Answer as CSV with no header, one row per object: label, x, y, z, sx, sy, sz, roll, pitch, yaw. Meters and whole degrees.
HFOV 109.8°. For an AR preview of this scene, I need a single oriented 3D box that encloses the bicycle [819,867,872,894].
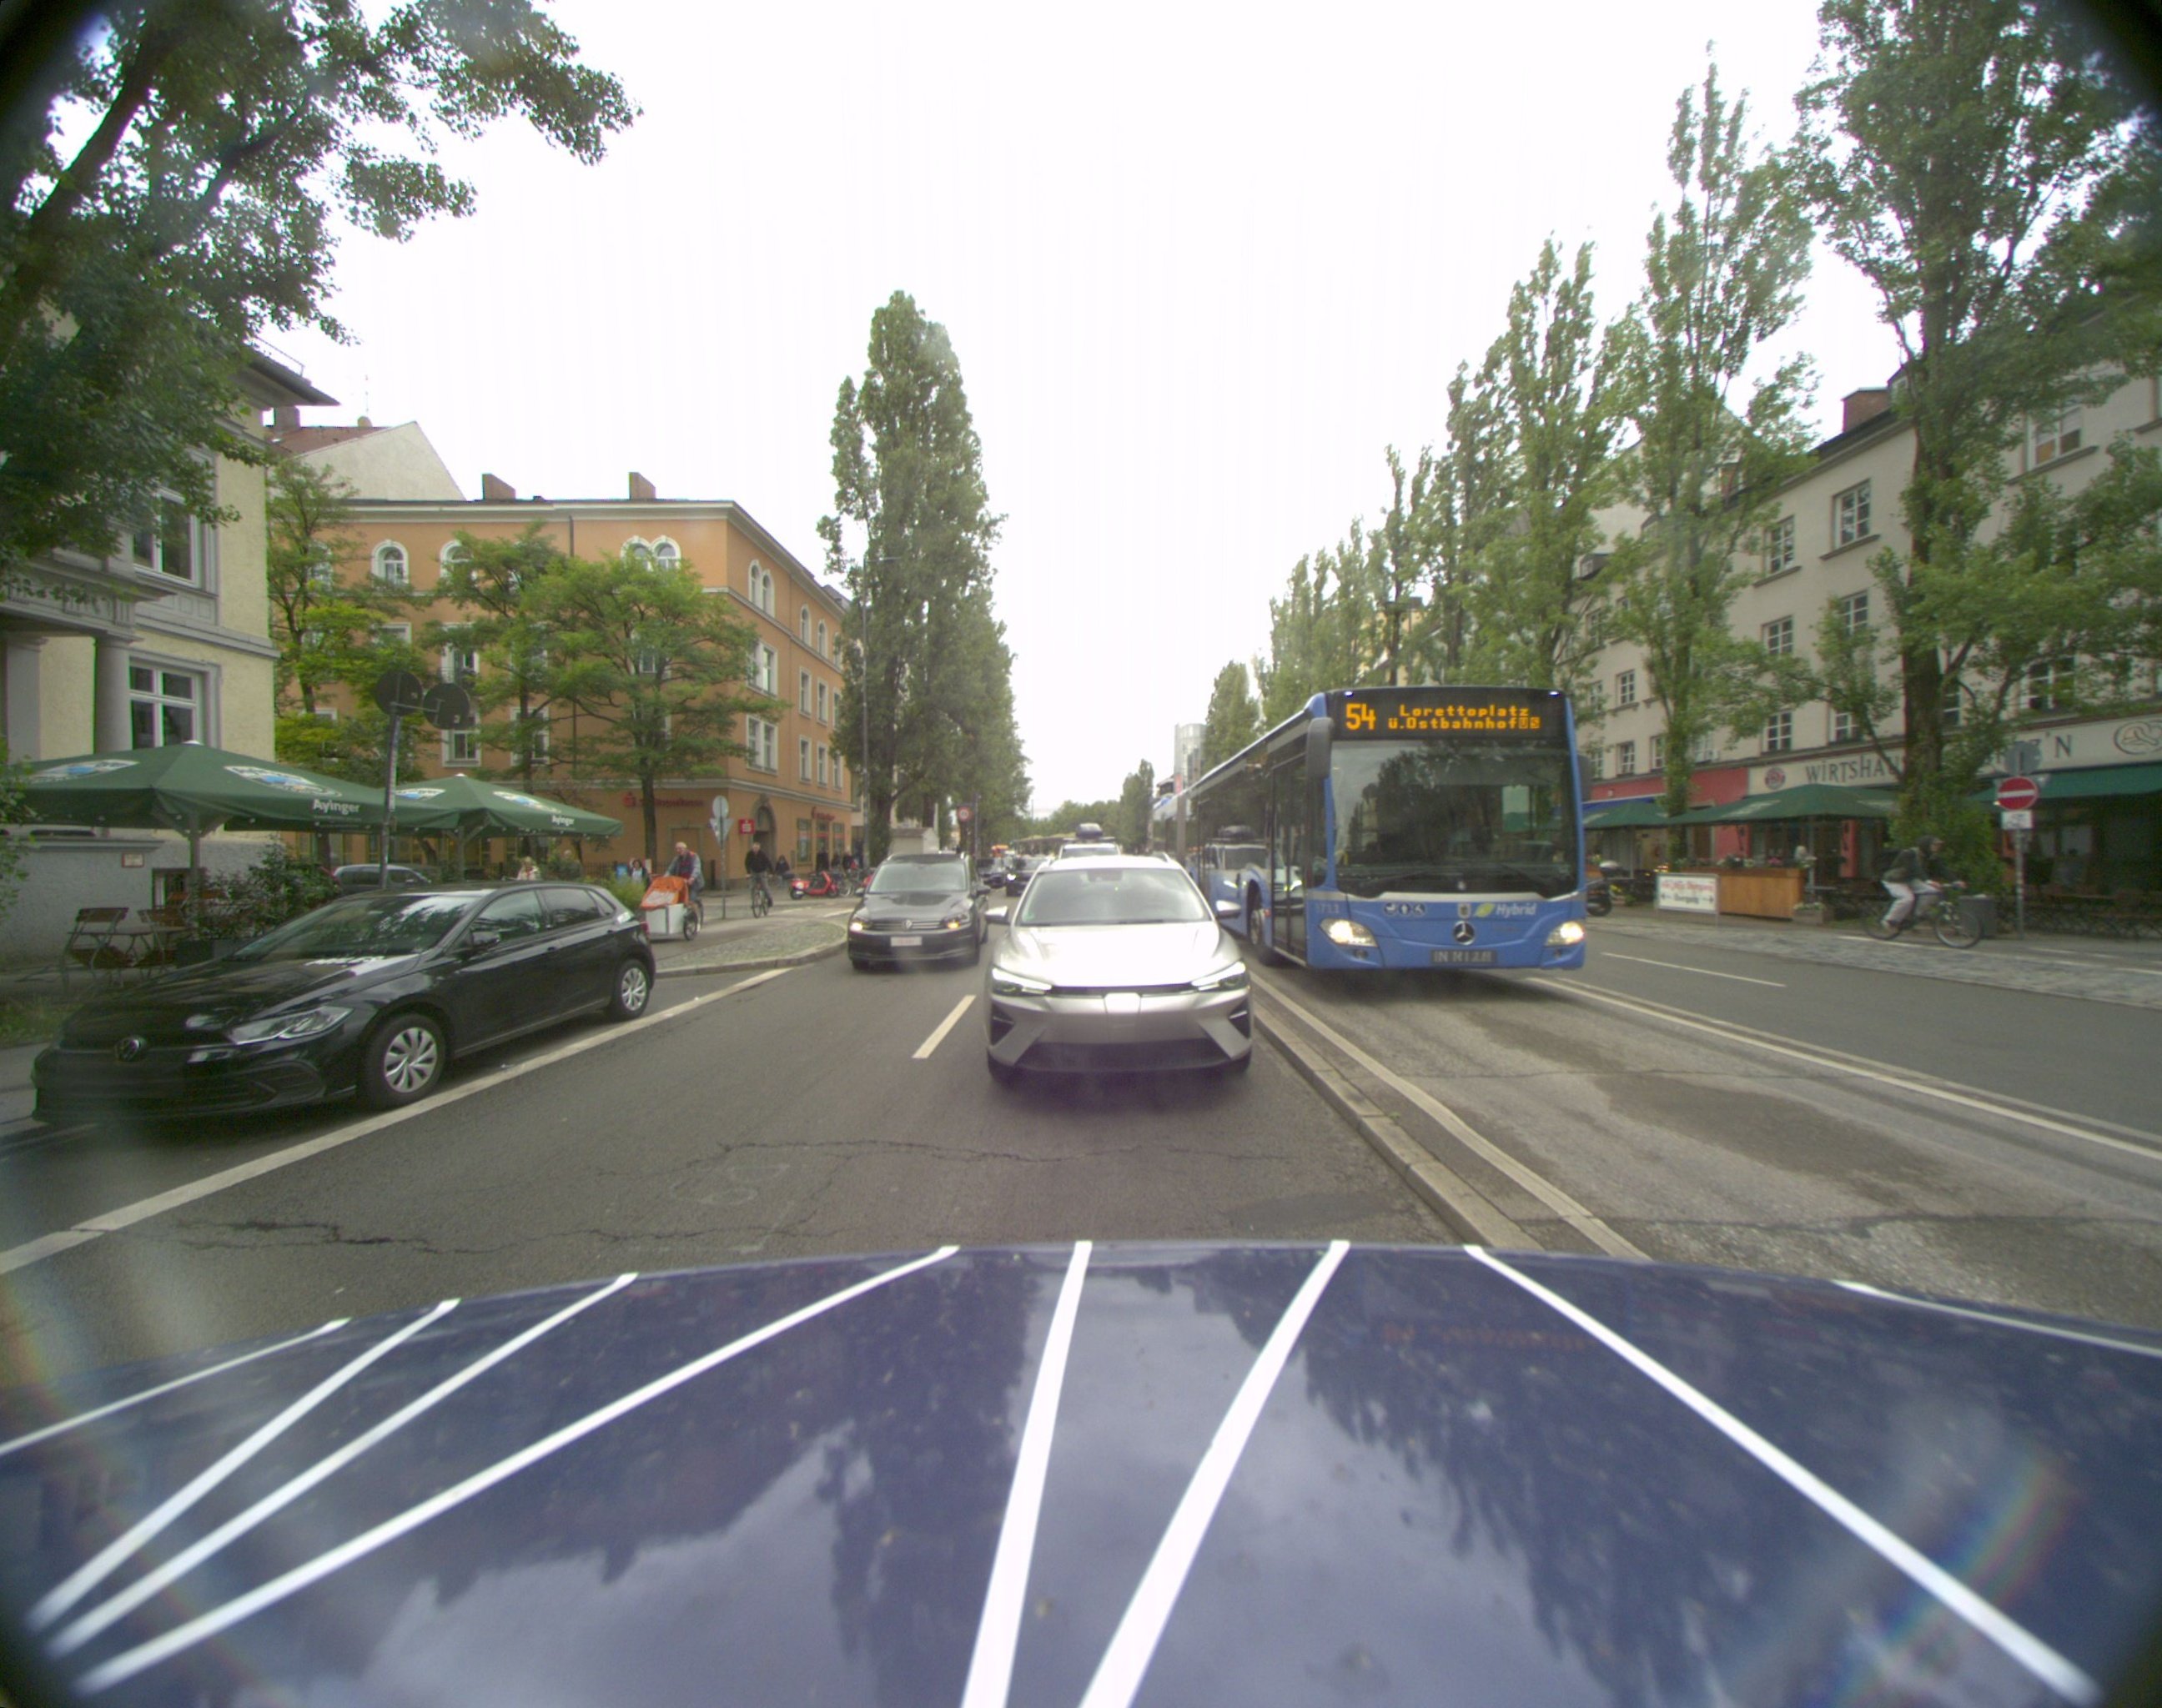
bicycle,-9.475,1.070,30.648,1.945,1.069,0.561,-1,1,1

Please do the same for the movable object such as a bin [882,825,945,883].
movable object such as a bin,-9.377,-0.001,43.044,2.445,3.119,4.543,1,0,1

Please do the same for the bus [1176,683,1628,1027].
bus,3.389,-0.002,11.555,2.696,2.932,10.052,0,0,0

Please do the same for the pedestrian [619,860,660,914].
pedestrian,-13.273,0.992,22.840,0.745,1.562,0.664,-2,1,3

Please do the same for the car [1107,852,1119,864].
car,5.418,0.717,129.353,1.998,2.002,4.000,0,0,1

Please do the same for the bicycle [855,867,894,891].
bicycle,-9.073,1.091,33.463,1.602,1.004,0.342,-1,1,-6

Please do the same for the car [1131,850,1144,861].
car,8.601,0.211,115.129,1.718,1.532,4.076,1,0,1

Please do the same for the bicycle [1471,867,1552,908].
bicycle,12.263,0.962,21.695,1.976,1.119,0.343,-1,1,37

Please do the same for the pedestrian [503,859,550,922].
pedestrian,-14.210,0.933,19.469,0.699,1.562,0.575,-2,1,3

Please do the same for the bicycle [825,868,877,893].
bicycle,-9.461,1.081,31.252,1.945,1.004,0.561,-1,1,1

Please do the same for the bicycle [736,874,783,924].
bicycle,-8.035,1.085,19.072,0.738,1.113,2.099,-1,0,-13

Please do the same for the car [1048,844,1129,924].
car,0.182,0.673,20.479,1.839,1.831,5.129,-2,1,0

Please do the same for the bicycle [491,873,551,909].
bicycle,-22.046,1.447,29.917,1.945,1.364,0.561,-2,1,1

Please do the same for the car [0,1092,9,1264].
car,-5.539,0.983,1.036,1.808,1.628,4.446,-2,0,-1

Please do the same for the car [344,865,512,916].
car,-22.262,1.216,26.021,3.997,1.511,1.906,-2,1,-1

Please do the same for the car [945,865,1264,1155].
car,0.138,0.911,6.304,1.742,1.510,4.033,-2,0,0

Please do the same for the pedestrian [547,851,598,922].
pedestrian,-12.894,0.807,19.290,0.699,1.756,0.732,-2,1,4

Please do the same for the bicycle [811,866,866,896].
bicycle,-9.321,1.041,29.253,1.945,1.130,0.561,-1,1,1

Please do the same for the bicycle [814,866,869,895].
bicycle,-9.415,1.045,29.904,1.945,1.082,0.561,-1,1,1

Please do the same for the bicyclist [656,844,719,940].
bicyclist,-7.419,0.701,14.371,0.831,1.747,0.667,-1,1,-4

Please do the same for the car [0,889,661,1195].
car,-5.245,1.087,5.990,1.698,1.408,3.950,-1,0,-1

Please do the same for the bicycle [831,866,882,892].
bicycle,-9.452,1.048,32.001,1.945,1.078,0.561,-1,1,1

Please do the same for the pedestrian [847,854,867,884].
pedestrian,-11.943,0.773,40.527,0.745,1.562,0.614,-2,1,3

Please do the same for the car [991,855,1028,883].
car,-4.369,0.880,46.934,1.789,1.604,4.498,-2,0,0

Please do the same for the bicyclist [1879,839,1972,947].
bicyclist,13.799,0.617,12.441,0.606,1.695,0.816,-1,1,2

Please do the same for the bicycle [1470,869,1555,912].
bicycle,11.780,0.979,20.781,1.976,1.119,0.283,-1,1,37

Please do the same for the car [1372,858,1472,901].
car,12.207,0.874,27.484,1.760,1.414,3.784,1,0,-2

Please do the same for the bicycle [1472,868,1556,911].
bicycle,11.954,0.970,21.005,1.976,1.119,0.283,-1,1,37

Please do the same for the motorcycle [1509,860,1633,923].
motorcycle,11.951,0.873,18.642,0.747,1.406,2.448,0,0,-33

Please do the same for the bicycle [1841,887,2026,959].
bicycle,13.790,1.073,12.414,0.613,0.963,2.174,-1,0,1

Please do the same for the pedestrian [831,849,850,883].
pedestrian,-12.093,0.610,38.221,0.746,1.651,0.770,-2,1,-9

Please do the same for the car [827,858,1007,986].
car,-2.338,0.899,12.002,1.882,1.582,4.192,-2,0,0

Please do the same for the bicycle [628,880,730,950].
bicycle,-7.387,1.087,14.105,0.887,1.113,2.101,-1,0,-4

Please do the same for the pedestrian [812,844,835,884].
pedestrian,-12.842,0.496,37.894,0.840,1.937,0.801,-2,1,-7

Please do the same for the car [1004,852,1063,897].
car,-1.879,0.785,31.168,1.705,1.683,4.005,-2,0,6

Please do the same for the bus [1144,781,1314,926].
bus,3.442,-0.019,20.507,2.690,2.932,10.052,0,0,0

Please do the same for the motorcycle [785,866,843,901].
motorcycle,-9.708,1.056,27.648,1.963,1.214,0.514,-1,1,-25

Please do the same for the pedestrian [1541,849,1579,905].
pedestrian,14.905,0.703,23.675,0.731,1.716,0.700,0,1,-1

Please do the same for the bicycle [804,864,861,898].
bicycle,-9.360,1.024,28.610,1.945,1.232,0.561,-1,1,1

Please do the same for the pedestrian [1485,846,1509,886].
pedestrian,20.307,0.594,37.083,0.699,1.915,0.905,0,1,4

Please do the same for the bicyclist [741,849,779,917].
bicyclist,-8.039,0.713,19.069,0.742,1.677,0.748,-1,1,-13

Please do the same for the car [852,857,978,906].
car,-5.547,0.881,25.785,1.613,1.425,4.011,-1,0,38

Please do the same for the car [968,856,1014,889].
car,-4.631,0.917,39.566,1.789,1.544,4.498,-2,0,0

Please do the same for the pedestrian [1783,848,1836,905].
pedestrian,21.389,0.633,22.331,0.699,1.637,0.929,0,1,6
